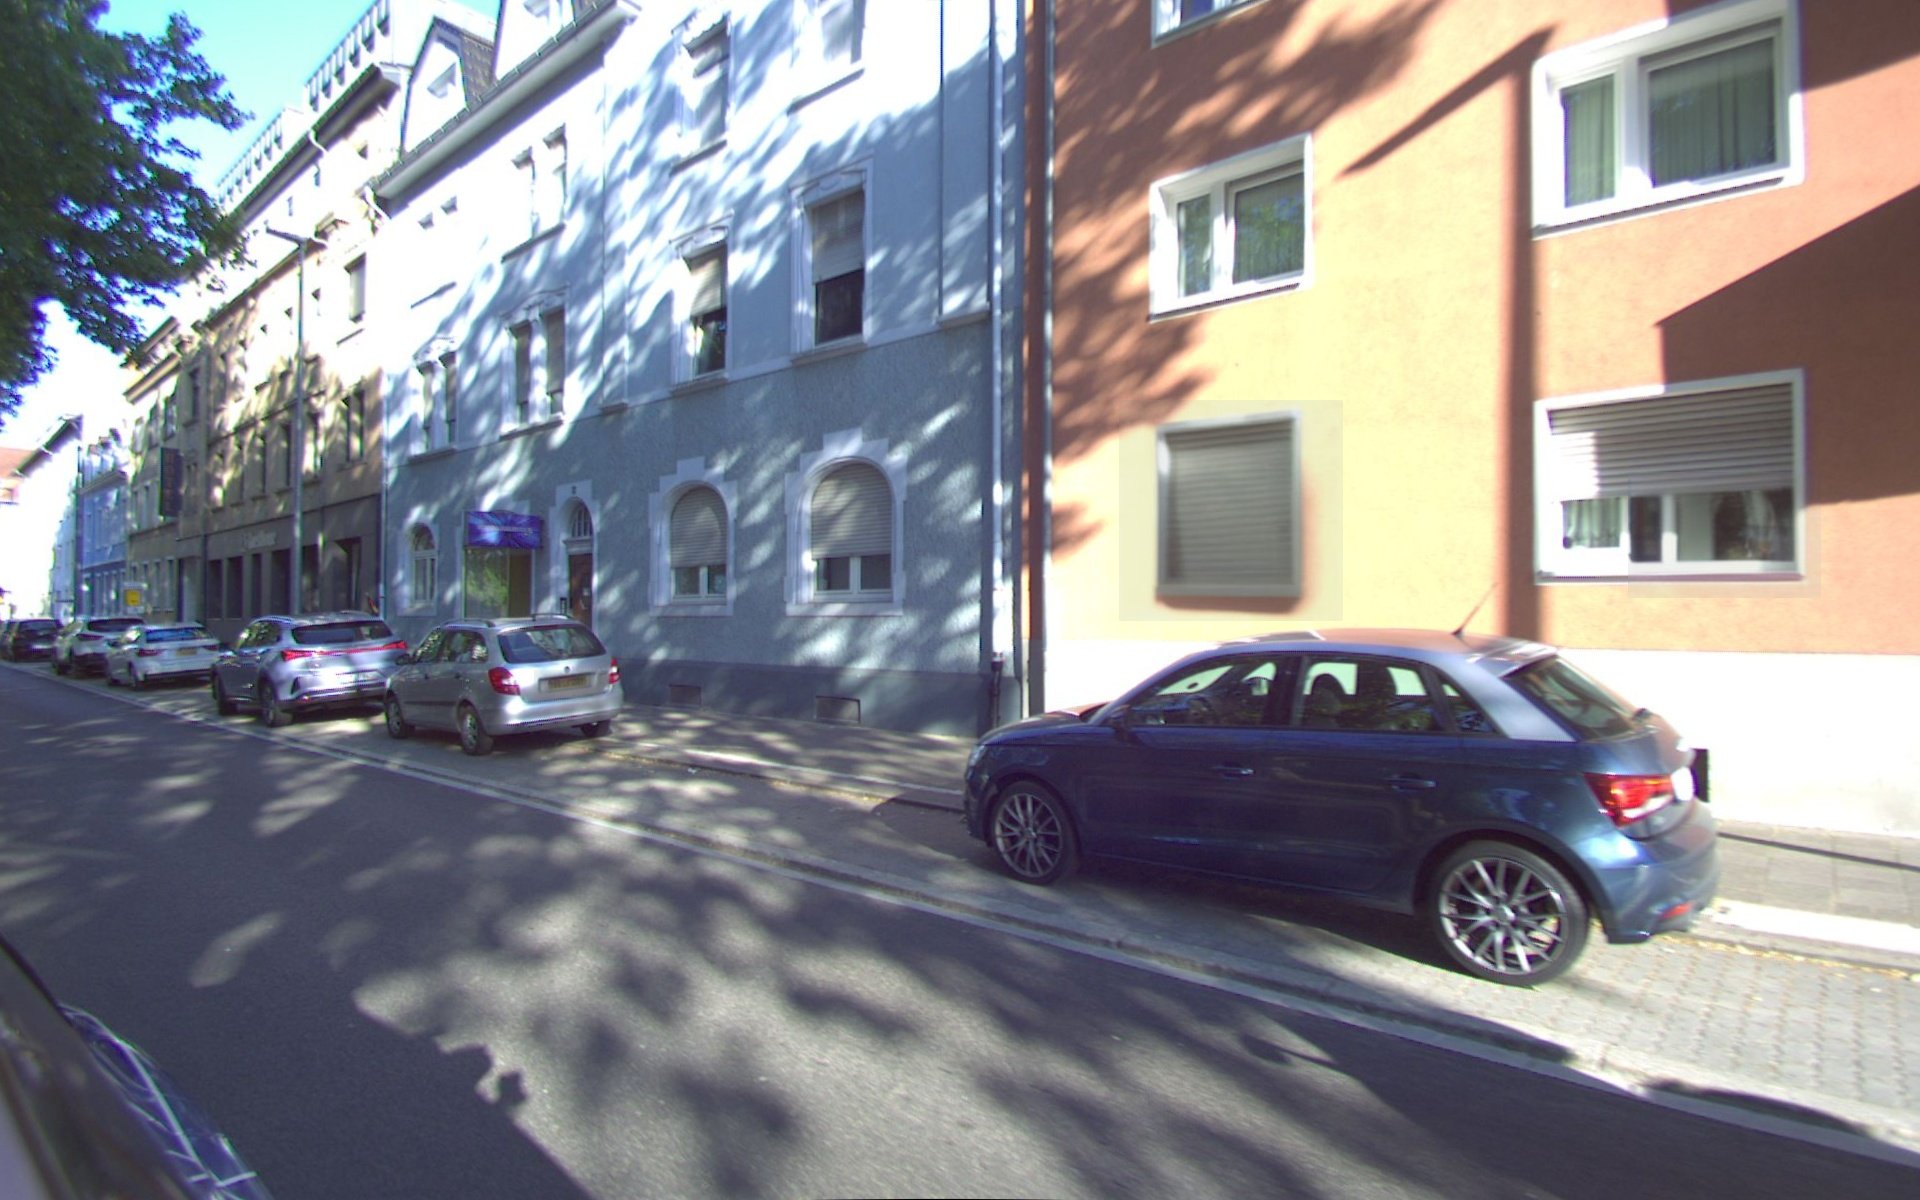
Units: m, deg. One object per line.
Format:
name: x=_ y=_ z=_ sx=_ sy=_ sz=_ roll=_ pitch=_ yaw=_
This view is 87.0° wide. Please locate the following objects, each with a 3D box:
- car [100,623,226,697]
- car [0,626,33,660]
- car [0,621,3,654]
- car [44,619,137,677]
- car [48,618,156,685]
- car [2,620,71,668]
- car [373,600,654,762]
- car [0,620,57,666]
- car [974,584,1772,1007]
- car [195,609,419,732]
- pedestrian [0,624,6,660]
car: x=-18.385 y=1.309 z=23.287 sx=3.871 sy=1.507 sz=1.660 roll=-1 pitch=0 yaw=42
car: x=-44.510 y=1.966 z=47.010 sx=4.259 sy=1.498 sz=1.633 roll=-1 pitch=0 yaw=40
car: x=-51.881 y=2.000 z=53.423 sx=1.884 sy=1.685 sz=4.495 roll=-1 pitch=0 yaw=-45
car: x=-26.137 y=1.393 z=30.389 sx=3.755 sy=1.604 sz=1.660 roll=-1 pitch=0 yaw=42
car: x=-22.945 y=1.319 z=27.012 sx=4.199 sy=1.597 sz=1.660 roll=-1 pitch=0 yaw=42
car: x=-33.871 y=1.577 z=37.095 sx=3.706 sy=1.617 sz=1.659 roll=-1 pitch=0 yaw=44
car: x=-5.563 y=0.869 z=12.387 sx=3.983 sy=1.654 sz=1.660 roll=-1 pitch=0 yaw=42
car: x=-37.357 y=1.668 z=40.215 sx=4.155 sy=1.685 sz=1.762 roll=-1 pitch=0 yaw=42
car: x=1.976 y=0.716 z=5.420 sx=3.600 sy=1.497 sz=1.660 roll=-1 pitch=0 yaw=42
car: x=-10.536 y=1.019 z=16.190 sx=4.576 sy=1.654 sz=1.887 roll=-1 pitch=0 yaw=42
pedestrian: x=-42.171 y=1.831 z=44.069 sx=0.706 sy=1.582 sz=0.853 roll=-2 pitch=-3 yaw=44
